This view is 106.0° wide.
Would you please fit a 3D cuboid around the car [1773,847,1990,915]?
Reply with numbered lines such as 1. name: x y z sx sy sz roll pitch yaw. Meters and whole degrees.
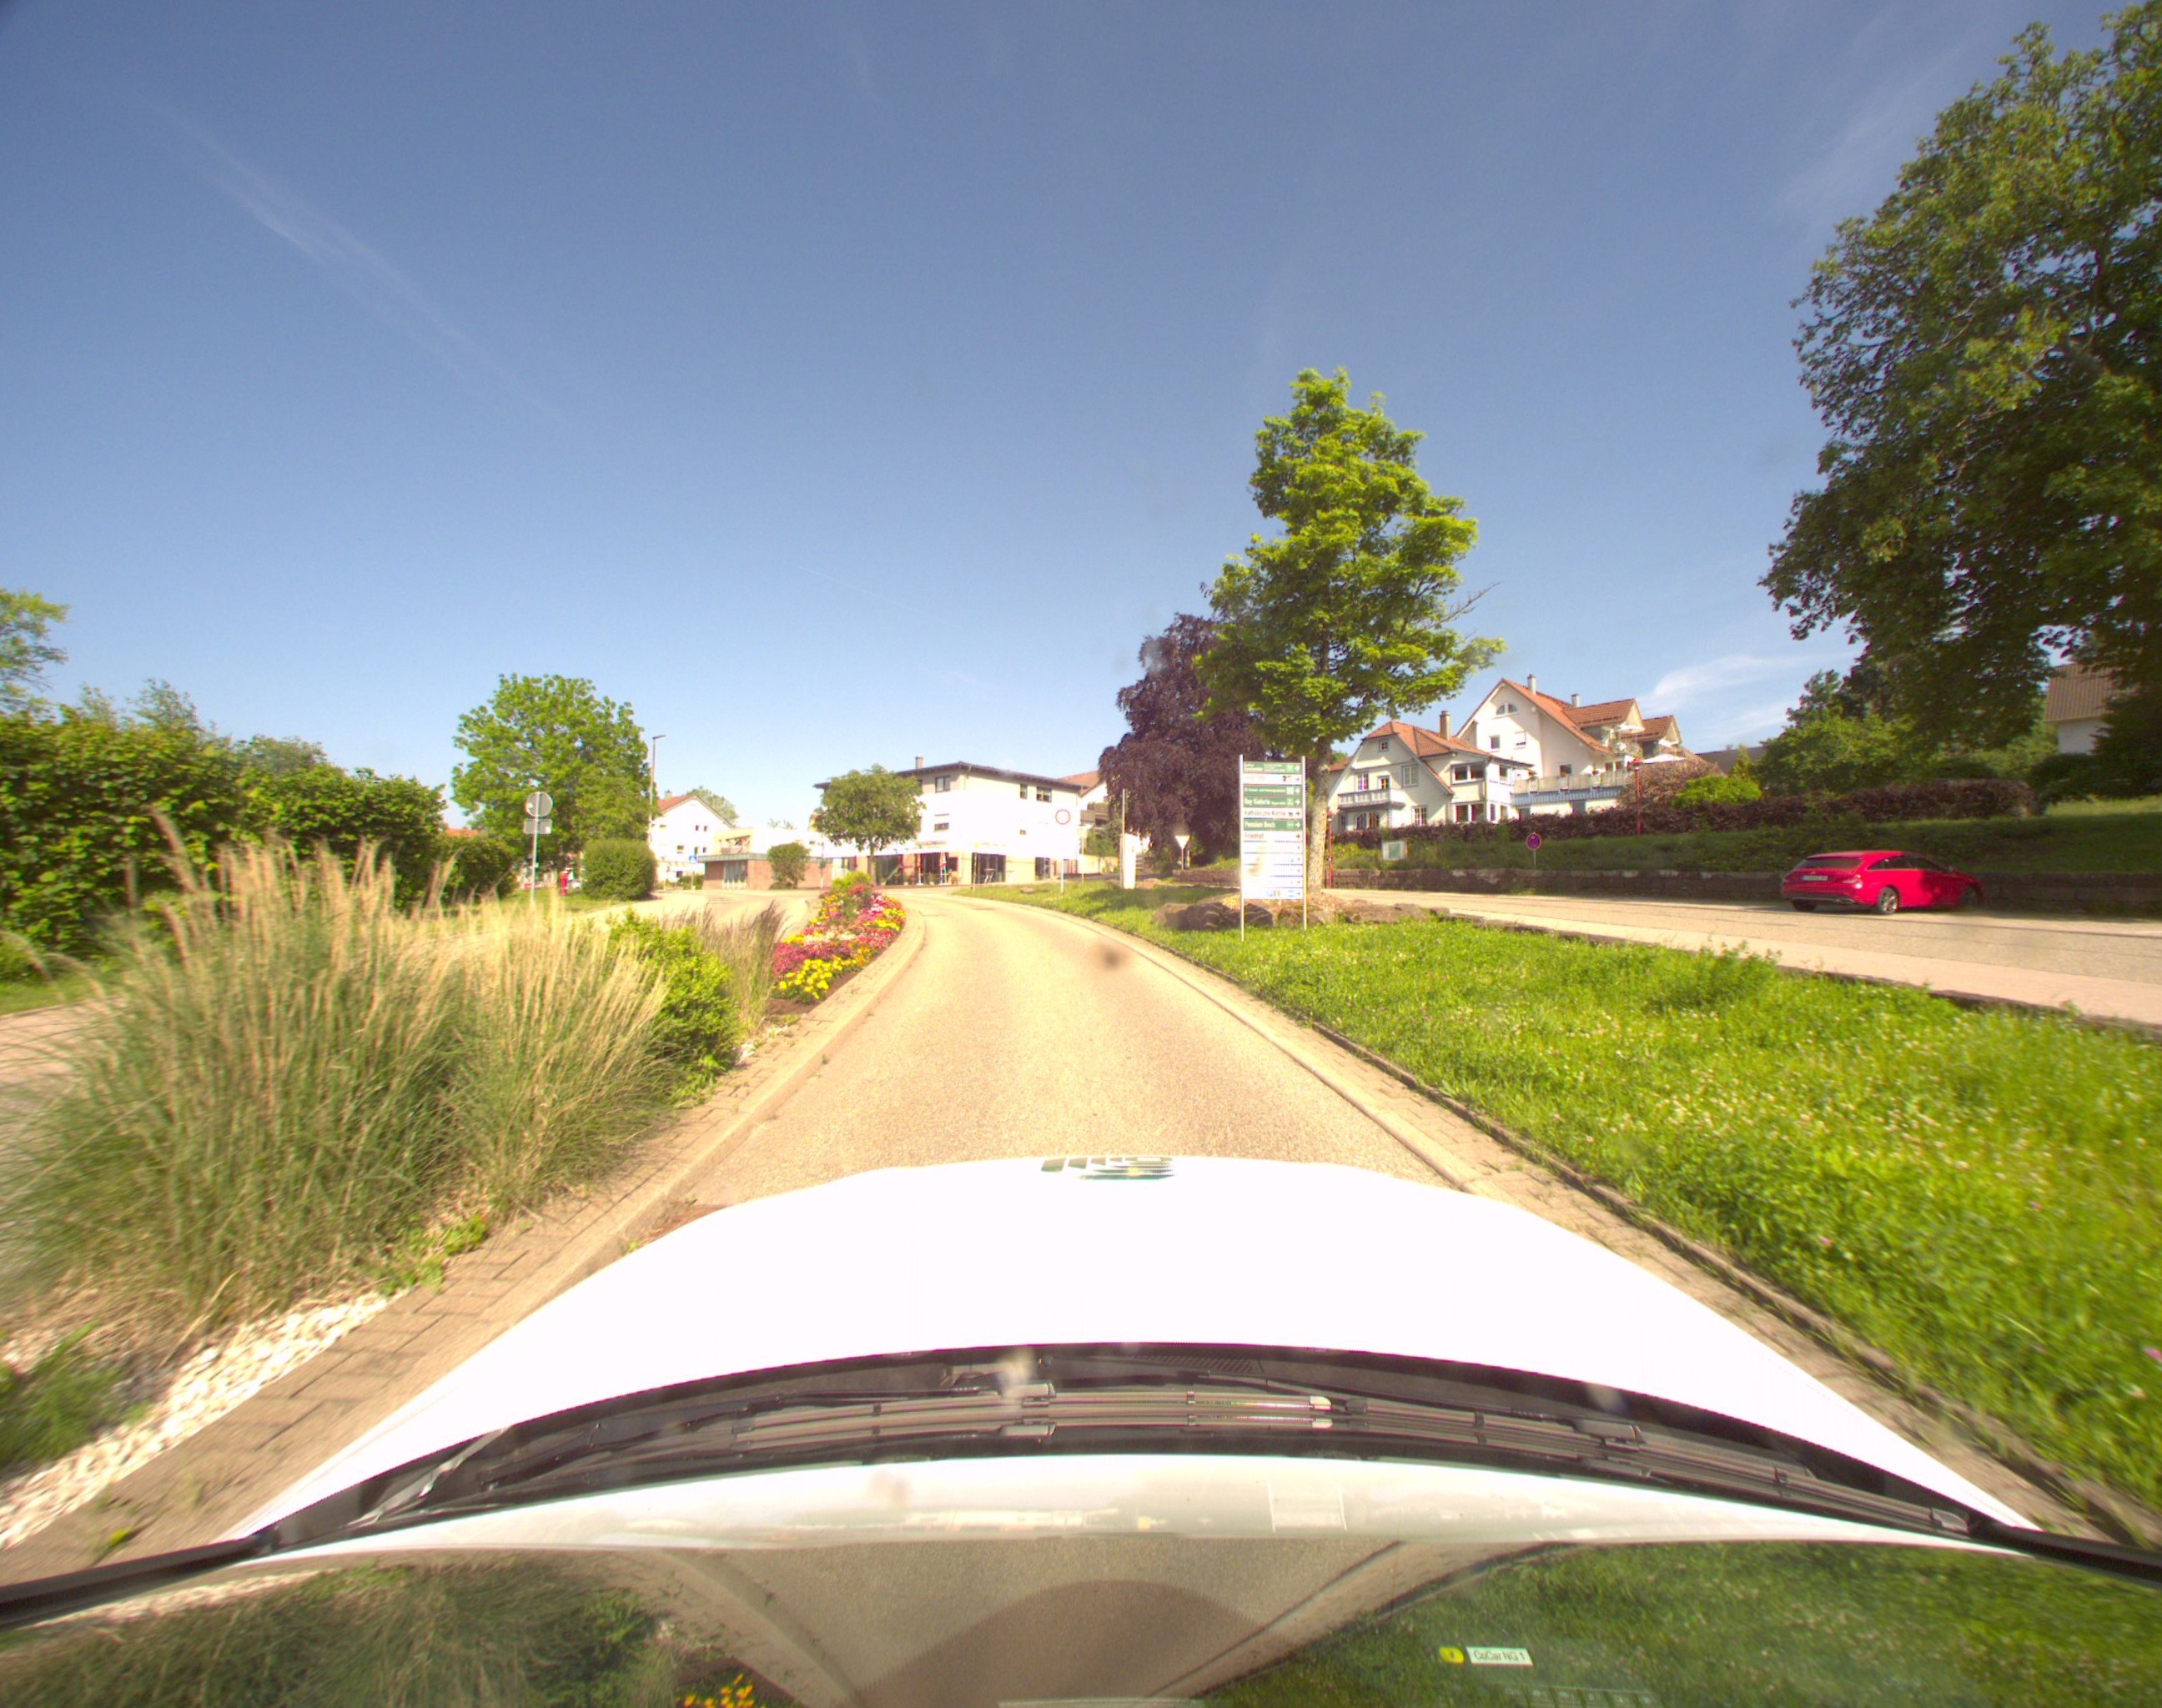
1. car: 18.622 0.601 18.982 4.260 1.429 1.693 -1 -2 -16
